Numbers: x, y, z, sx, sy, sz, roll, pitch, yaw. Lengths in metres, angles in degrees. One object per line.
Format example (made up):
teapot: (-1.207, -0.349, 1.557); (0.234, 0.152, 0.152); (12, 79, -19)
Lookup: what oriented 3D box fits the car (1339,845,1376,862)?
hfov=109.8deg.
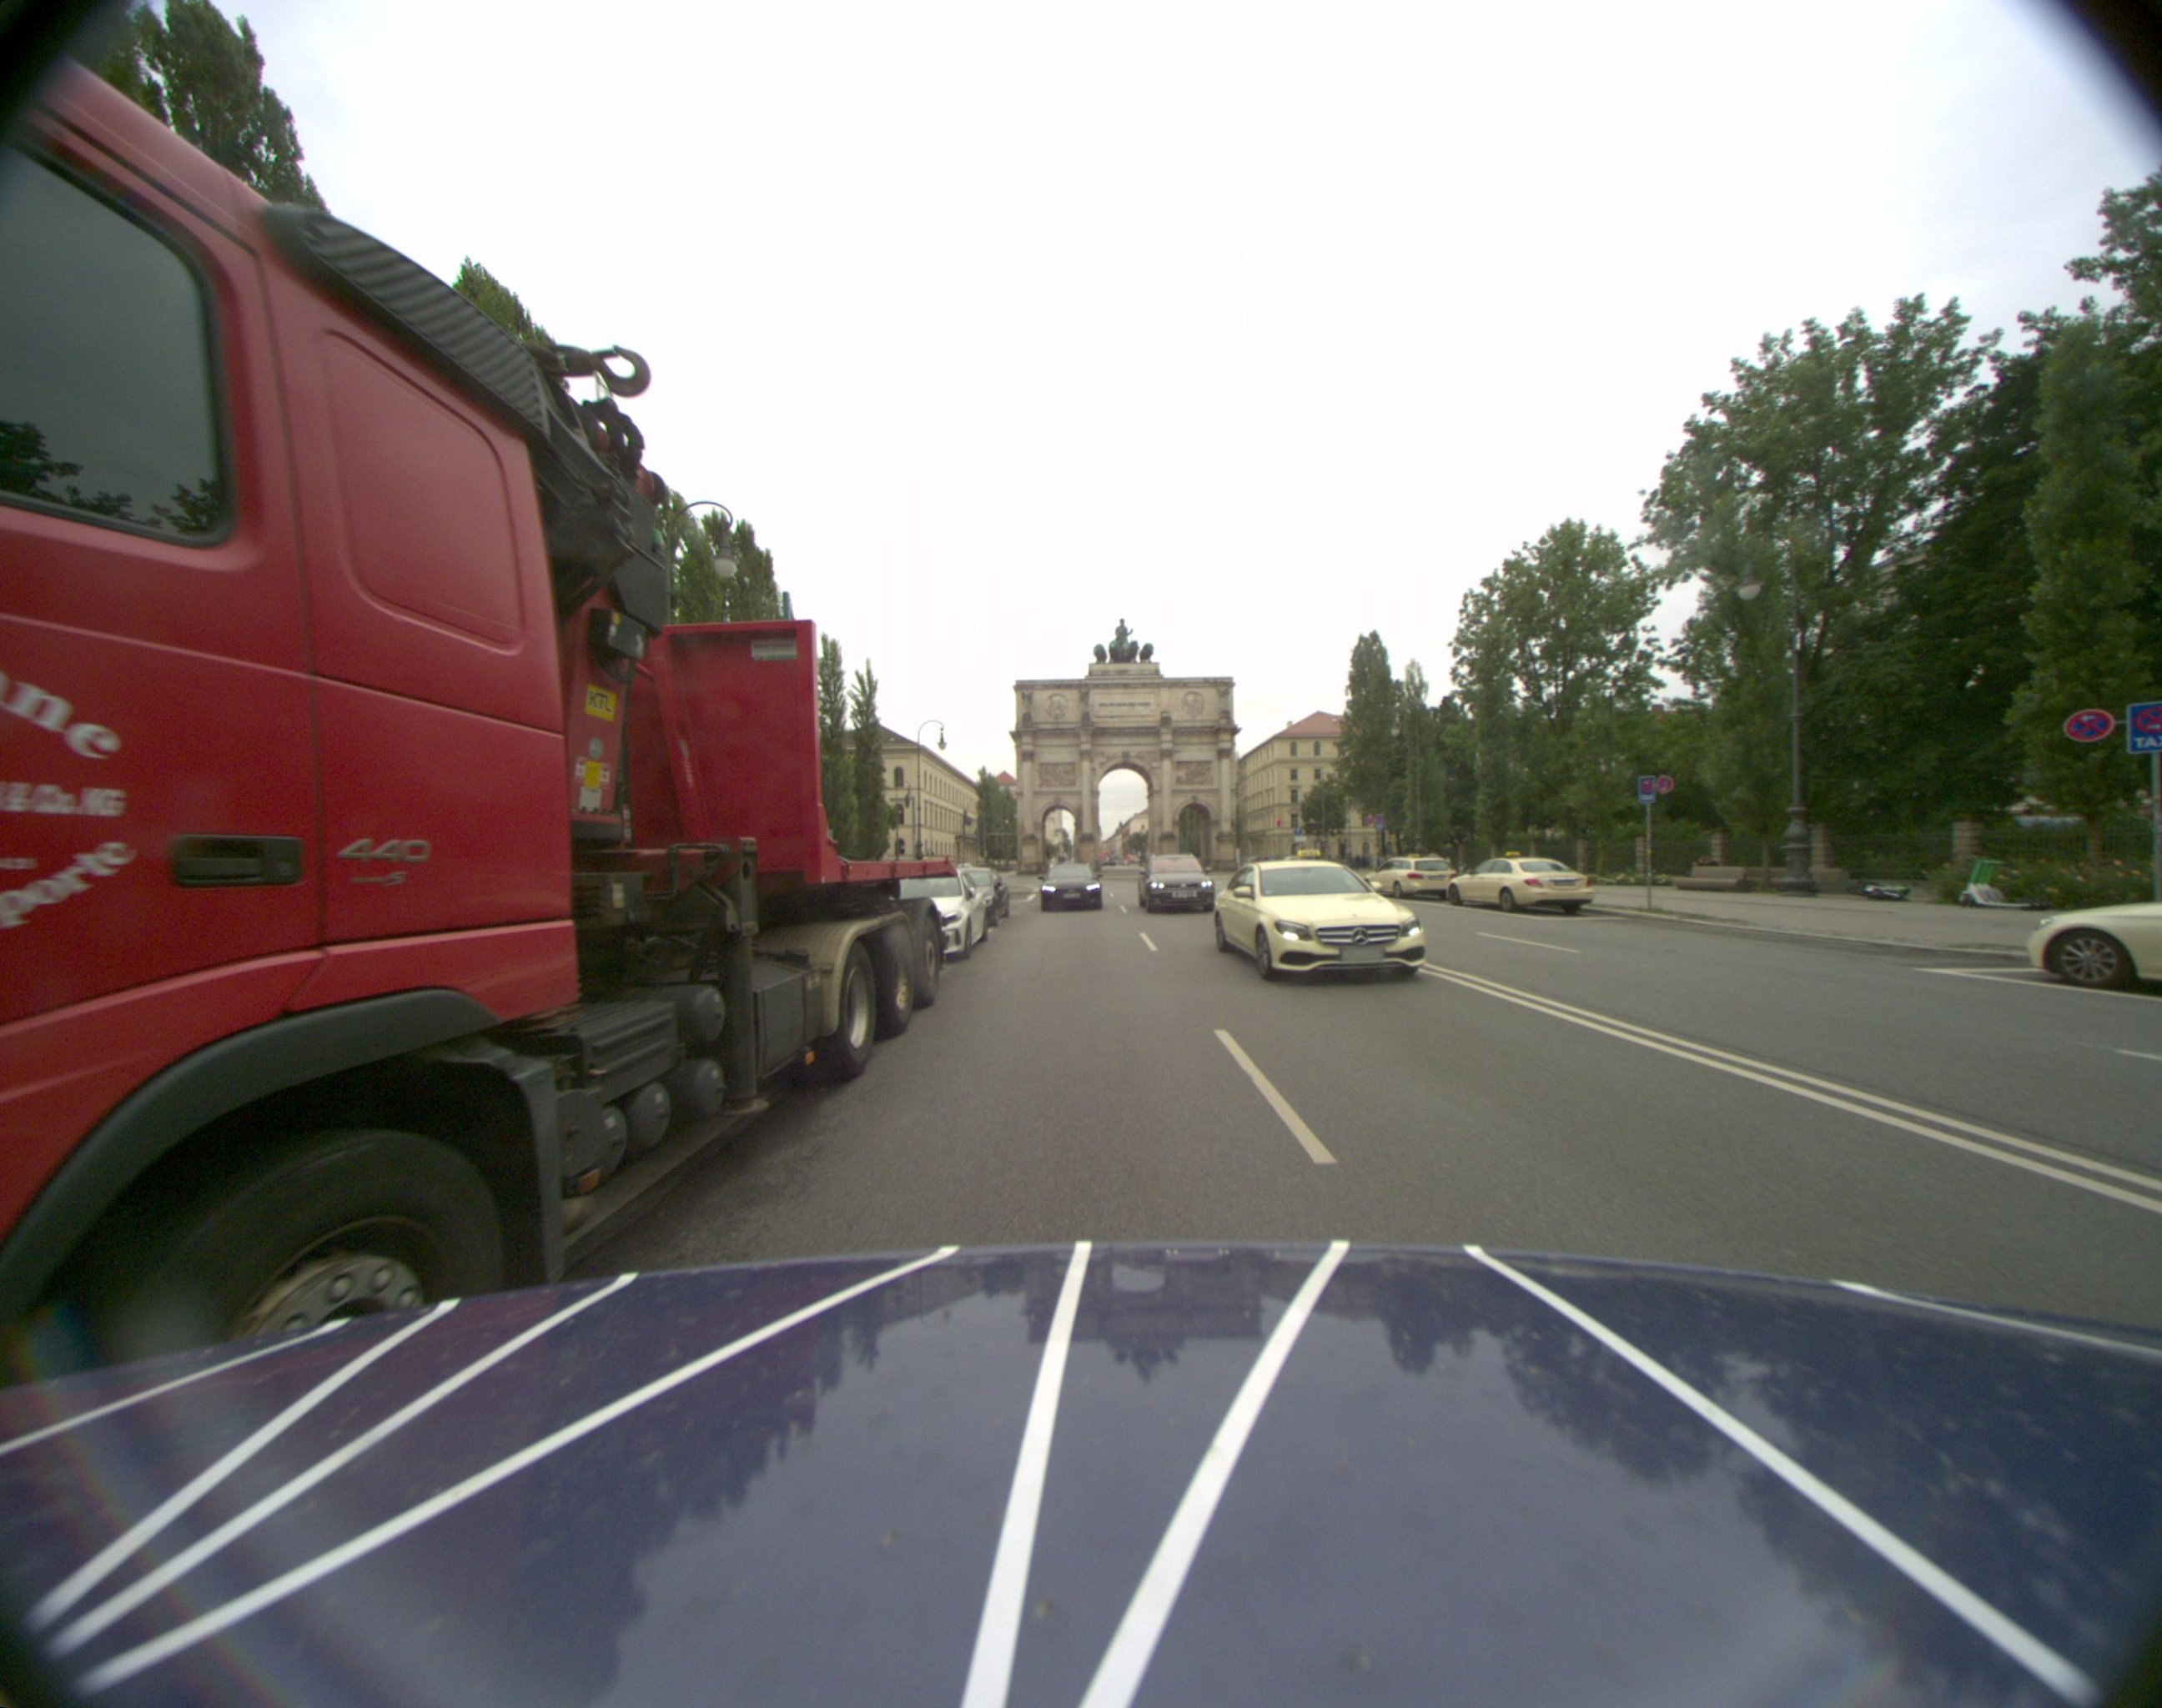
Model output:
car: (35.244, -0.055, 96.847); (3.997, 2.002, 2.000); (-1, 0, 0)

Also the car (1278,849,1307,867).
car: (23.859, 0.408, 85.736); (2.004, 1.844, 4.990); (0, 1, 2)

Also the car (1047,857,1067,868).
car: (-3.795, 1.369, 120.416); (1.785, 1.739, 4.326); (-1, 0, 16)

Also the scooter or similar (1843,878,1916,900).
scooter or similar: (22.990, 0.985, 21.854); (2.241, 0.515, 1.329); (-1, 0, -40)

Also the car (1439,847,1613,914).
car: (12.151, 0.620, 21.235); (1.942, 1.615, 4.964); (0, 1, 0)

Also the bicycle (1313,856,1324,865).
bicycle: (28.526, 0.773, 91.149); (0.643, 0.968, 1.761); (-1, 0, -6)

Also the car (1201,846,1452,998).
car: (3.054, 0.720, 10.632); (1.919, 1.566, 4.688); (-3, 1, 0)

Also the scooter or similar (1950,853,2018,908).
scooter or similar: (21.133, 0.600, 17.801); (0.258, 1.235, 1.141); (-1, 1, 1)

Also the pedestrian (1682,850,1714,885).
pedestrian: (24.538, 0.533, 30.217); (0.578, 1.329, 0.838); (-1, 0, -26)

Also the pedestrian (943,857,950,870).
pedestrian: (-21.455, 1.544, 121.117); (0.944, 2.002, 1.003); (-1, 0, 1)

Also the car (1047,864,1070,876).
car: (-3.339, 2.385, 114.871); (1.784, 1.739, 4.327); (-1, 0, 23)

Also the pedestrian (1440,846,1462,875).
pedestrian: (21.467, 0.365, 44.093); (0.846, 1.668, 0.967); (-1, 0, 6)

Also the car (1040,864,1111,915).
car: (-0.276, 1.061, 24.371); (1.923, 1.320, 4.409); (-3, 1, -4)

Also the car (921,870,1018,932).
car: (-2.744, 1.129, 19.598); (1.739, 1.302, 4.370); (-1, 0, 1)

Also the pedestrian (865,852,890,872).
pedestrian: (-13.081, 0.520, 48.774); (1.372, 1.200, 0.806); (-2, 1, -28)

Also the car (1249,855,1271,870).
car: (20.171, 0.936, 85.614); (1.785, 1.662, 4.001); (-1, 0, 5)

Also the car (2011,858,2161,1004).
car: (12.075, 0.785, 6.702); (1.935, 1.488, 4.791); (-1, 0, 1)

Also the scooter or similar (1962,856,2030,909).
scooter or similar: (21.406, 0.644, 17.797); (0.243, 1.194, 1.122); (-1, 1, 1)

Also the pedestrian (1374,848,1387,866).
pedestrian: (29.950, 0.292, 76.073); (0.916, 1.775, 0.753); (-1, 0, -20)

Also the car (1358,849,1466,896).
car: (12.084, 0.616, 28.135); (1.823, 1.550, 4.858); (1, 1, 0)

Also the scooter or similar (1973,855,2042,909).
scooter or similar: (21.670, 0.636, 17.791); (0.243, 1.194, 1.122); (-1, 1, 1)

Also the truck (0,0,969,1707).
truck: (-2.991, 0.172, 5.318); (2.720, 3.092, 10.426); (-1, 0, 1)

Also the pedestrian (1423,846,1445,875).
pedestrian: (20.640, 0.390, 44.453); (0.846, 1.668, 0.967); (-1, 0, 6)

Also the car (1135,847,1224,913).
car: (2.741, 0.671, 22.076); (1.953, 1.615, 4.411); (-3, 1, 0)

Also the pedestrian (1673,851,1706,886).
pedestrian: (23.904, 0.553, 29.871); (0.578, 1.329, 0.838); (-1, 0, -26)

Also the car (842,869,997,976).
car: (-2.639, 1.068, 13.438); (1.792, 1.451, 4.217); (-2, 0, 0)

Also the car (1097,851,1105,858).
car: (5.577, 0.098, 212.443); (1.998, 2.002, 4.394); (-1, 0, 0)

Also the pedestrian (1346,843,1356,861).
pedestrian: (30.199, -0.198, 85.014); (0.796, 2.002, 0.754); (-1, 1, -35)

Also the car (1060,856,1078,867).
car: (-1.955, 1.193, 125.776); (1.785, 1.739, 4.326); (-1, 0, 16)

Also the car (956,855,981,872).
car: (-13.239, 1.130, 89.590); (1.889, 1.846, 4.314); (-1, 0, 6)

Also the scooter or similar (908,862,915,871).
scooter or similar: (-24.099, 1.774, 107.891); (0.567, 1.134, 1.657); (-1, 0, 2)
